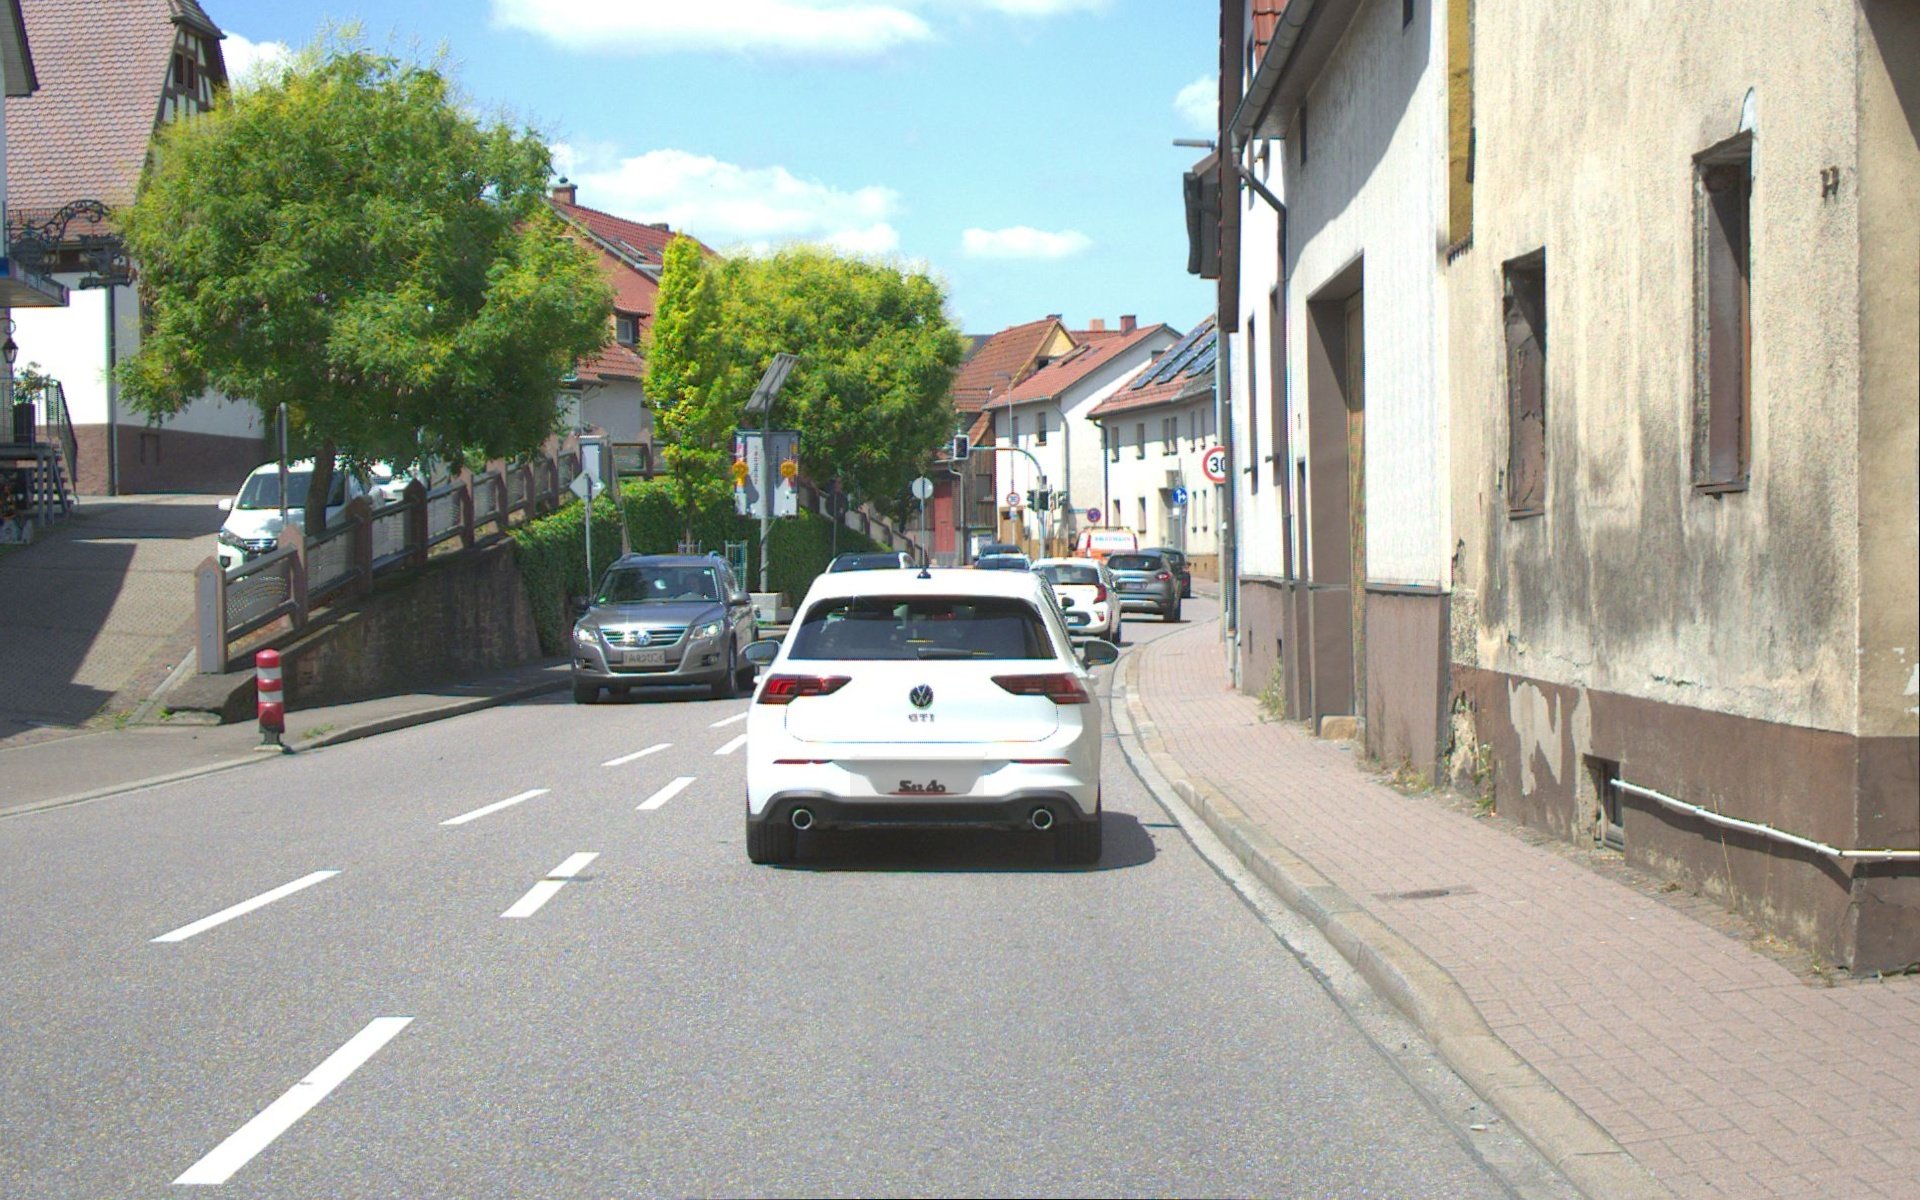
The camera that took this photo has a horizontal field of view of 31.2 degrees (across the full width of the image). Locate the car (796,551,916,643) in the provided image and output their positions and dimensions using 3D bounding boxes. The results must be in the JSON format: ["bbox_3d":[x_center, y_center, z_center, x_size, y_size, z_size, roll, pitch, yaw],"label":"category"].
[{"bbox_3d":[-1.873,-0.083,62.965,1.842,1.574,4.445,-1,1,2],"label":"car"}]

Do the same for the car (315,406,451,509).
[{"bbox_3d":[-9.281,-2.330,55.529,1.576,1.357,3.857,0,7,-1],"label":"car"}]

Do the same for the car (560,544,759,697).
[{"bbox_3d":[-3.396,0.192,39.561,1.758,1.629,4.049,-1,1,2],"label":"car"}]

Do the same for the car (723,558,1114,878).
[{"bbox_3d":[-0.152,0.526,18.084,1.808,1.462,4.000,1,1,1],"label":"car"}]

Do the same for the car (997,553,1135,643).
[{"bbox_3d":[1.858,-0.056,58.939,1.808,1.462,3.998,1,1,10],"label":"car"}]

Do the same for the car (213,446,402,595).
[{"bbox_3d":[-8.259,-1.054,43.806,1.693,1.537,3.857,0,7,-1],"label":"car"}]

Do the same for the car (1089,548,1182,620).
[{"bbox_3d":[3.914,-0.381,77.163,1.775,1.533,4.000,-1,1,-2],"label":"car"}]

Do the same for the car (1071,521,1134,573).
[{"bbox_3d":[4.858,-1.818,117.519,1.775,1.759,4.001,-1,1,-3],"label":"car"}]

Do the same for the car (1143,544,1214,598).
[{"bbox_3d":[6.457,-0.884,101.930,1.775,1.533,4.000,-1,1,-1],"label":"car"}]
